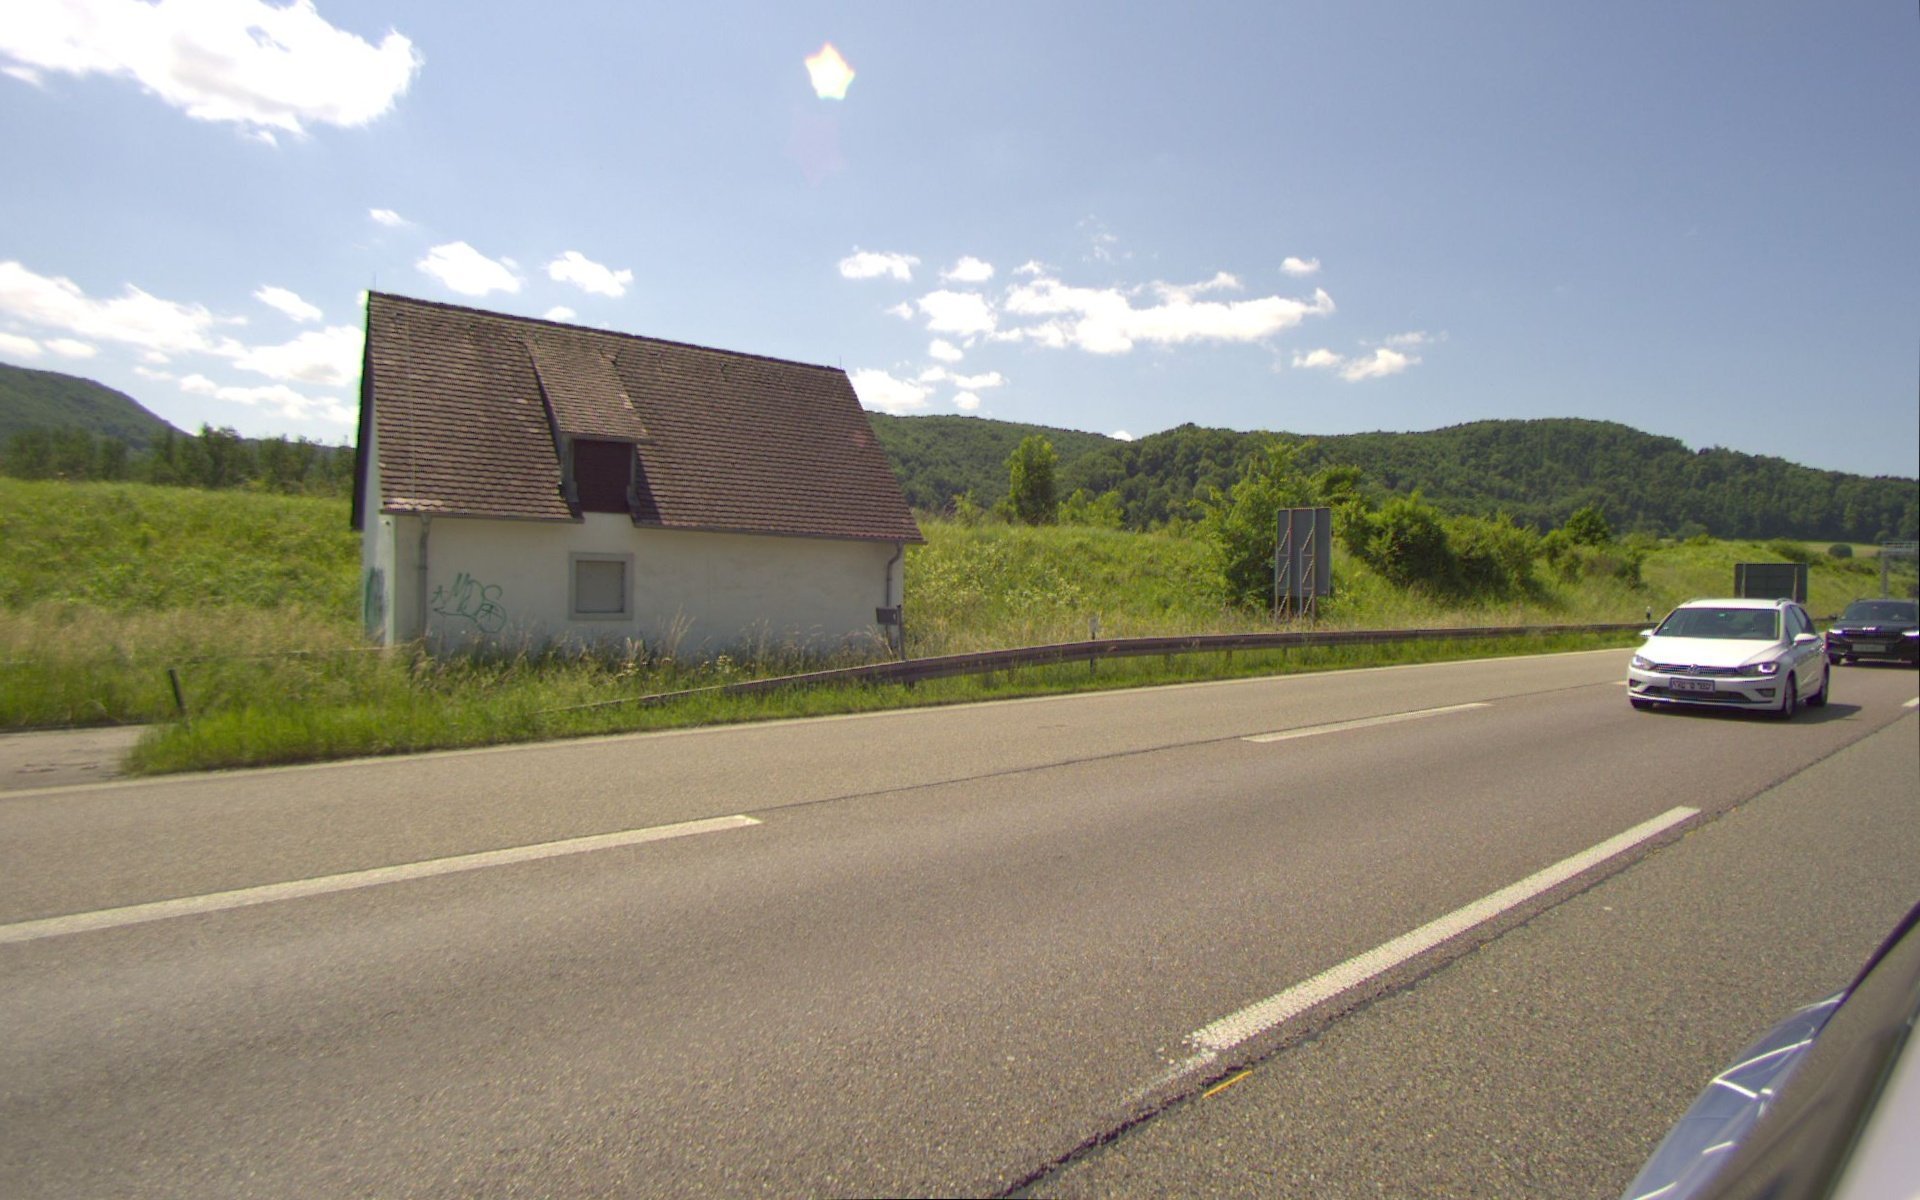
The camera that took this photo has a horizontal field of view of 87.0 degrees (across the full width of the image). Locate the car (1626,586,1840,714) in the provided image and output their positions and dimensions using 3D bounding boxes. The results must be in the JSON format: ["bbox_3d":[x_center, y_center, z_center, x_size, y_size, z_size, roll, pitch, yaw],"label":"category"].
[{"bbox_3d":[11.016,0.596,14.317,3.986,1.560,1.774,0,0,-43],"label":"car"}]

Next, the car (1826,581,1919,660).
[{"bbox_3d":[23.229,0.466,25.152,4.097,1.794,1.893,0,1,-40],"label":"car"}]
